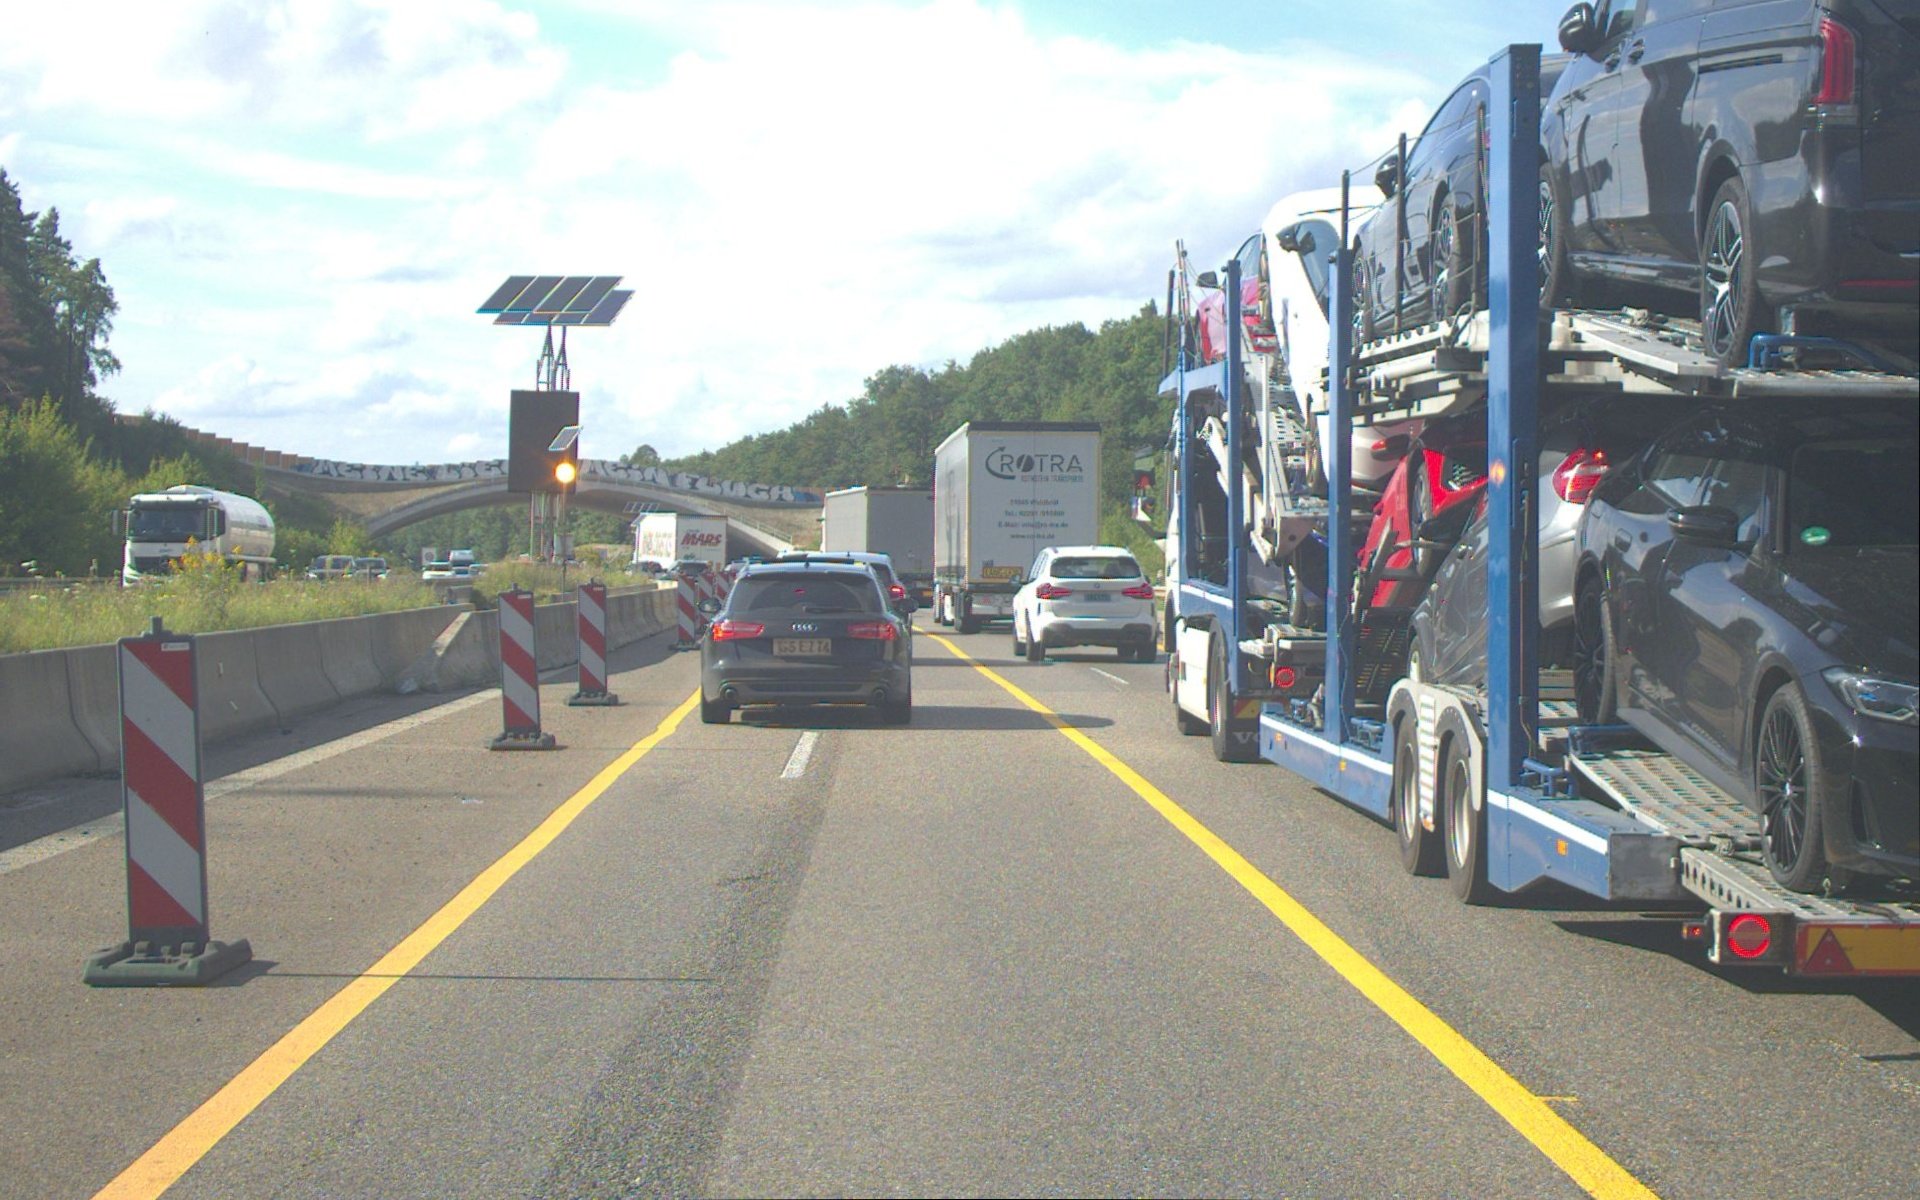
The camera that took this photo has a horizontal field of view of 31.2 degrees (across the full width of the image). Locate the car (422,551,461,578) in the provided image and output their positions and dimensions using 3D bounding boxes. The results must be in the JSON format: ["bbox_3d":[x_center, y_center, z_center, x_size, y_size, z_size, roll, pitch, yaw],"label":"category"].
[{"bbox_3d":[-31.085,-2.110,206.087,1.778,1.597,4.018,1,1,-1],"label":"car"}]

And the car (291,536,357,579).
[{"bbox_3d":[-24.263,-1.622,131.199,1.778,1.597,4.018,1,1,-1],"label":"car"}]

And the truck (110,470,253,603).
[{"bbox_3d":[-21.137,-1.708,93.601,2.785,3.478,4.939,1,0,-1],"label":"truck"}]

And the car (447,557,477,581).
[{"bbox_3d":[-34.036,-2.106,235.072,1.777,1.597,4.677,1,1,-5],"label":"car"}]

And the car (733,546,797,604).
[{"bbox_3d":[-6.996,-0.898,123.035,1.993,2.007,4.001,1,1,-7],"label":"car"}]

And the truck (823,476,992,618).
[{"bbox_3d":[-1.920,-1.784,118.102,4.318,4.584,11.127,1,1,-8],"label":"truck"}]

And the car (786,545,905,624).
[{"bbox_3d":[-2.216,-0.302,65.322,1.890,1.441,4.001,1,1,-7],"label":"car"}]

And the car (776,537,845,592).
[{"bbox_3d":[-4.635,-1.087,106.087,1.890,1.638,4.018,1,1,-6],"label":"car"}]

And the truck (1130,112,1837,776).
[{"bbox_3d":[3.544,-1.029,25.913,3.761,4.182,7.952,1,1,-2],"label":"truck"}]

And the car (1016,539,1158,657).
[{"bbox_3d":[1.829,-0.051,50.624,1.890,1.638,4.018,1,1,-1],"label":"car"}]

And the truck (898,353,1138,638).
[{"bbox_3d":[0.953,-2.057,73.005,3.677,5.335,16.203,1,1,-4],"label":"truck"}]

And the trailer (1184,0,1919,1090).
[{"bbox_3d":[3.886,-0.837,17.412,3.726,4.182,16.229,1,1,-2],"label":"trailer"}]

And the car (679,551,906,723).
[{"bbox_3d":[-1.452,0.295,31.201,1.890,1.441,4.000,1,1,-1],"label":"car"}]

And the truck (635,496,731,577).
[{"bbox_3d":[-14.066,-3.169,173.813,3.653,3.915,11.070,1,1,-11],"label":"truck"}]

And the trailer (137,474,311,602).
[{"bbox_3d":[-21.235,-1.756,99.793,2.802,3.478,11.113,1,1,-1],"label":"trailer"}]
